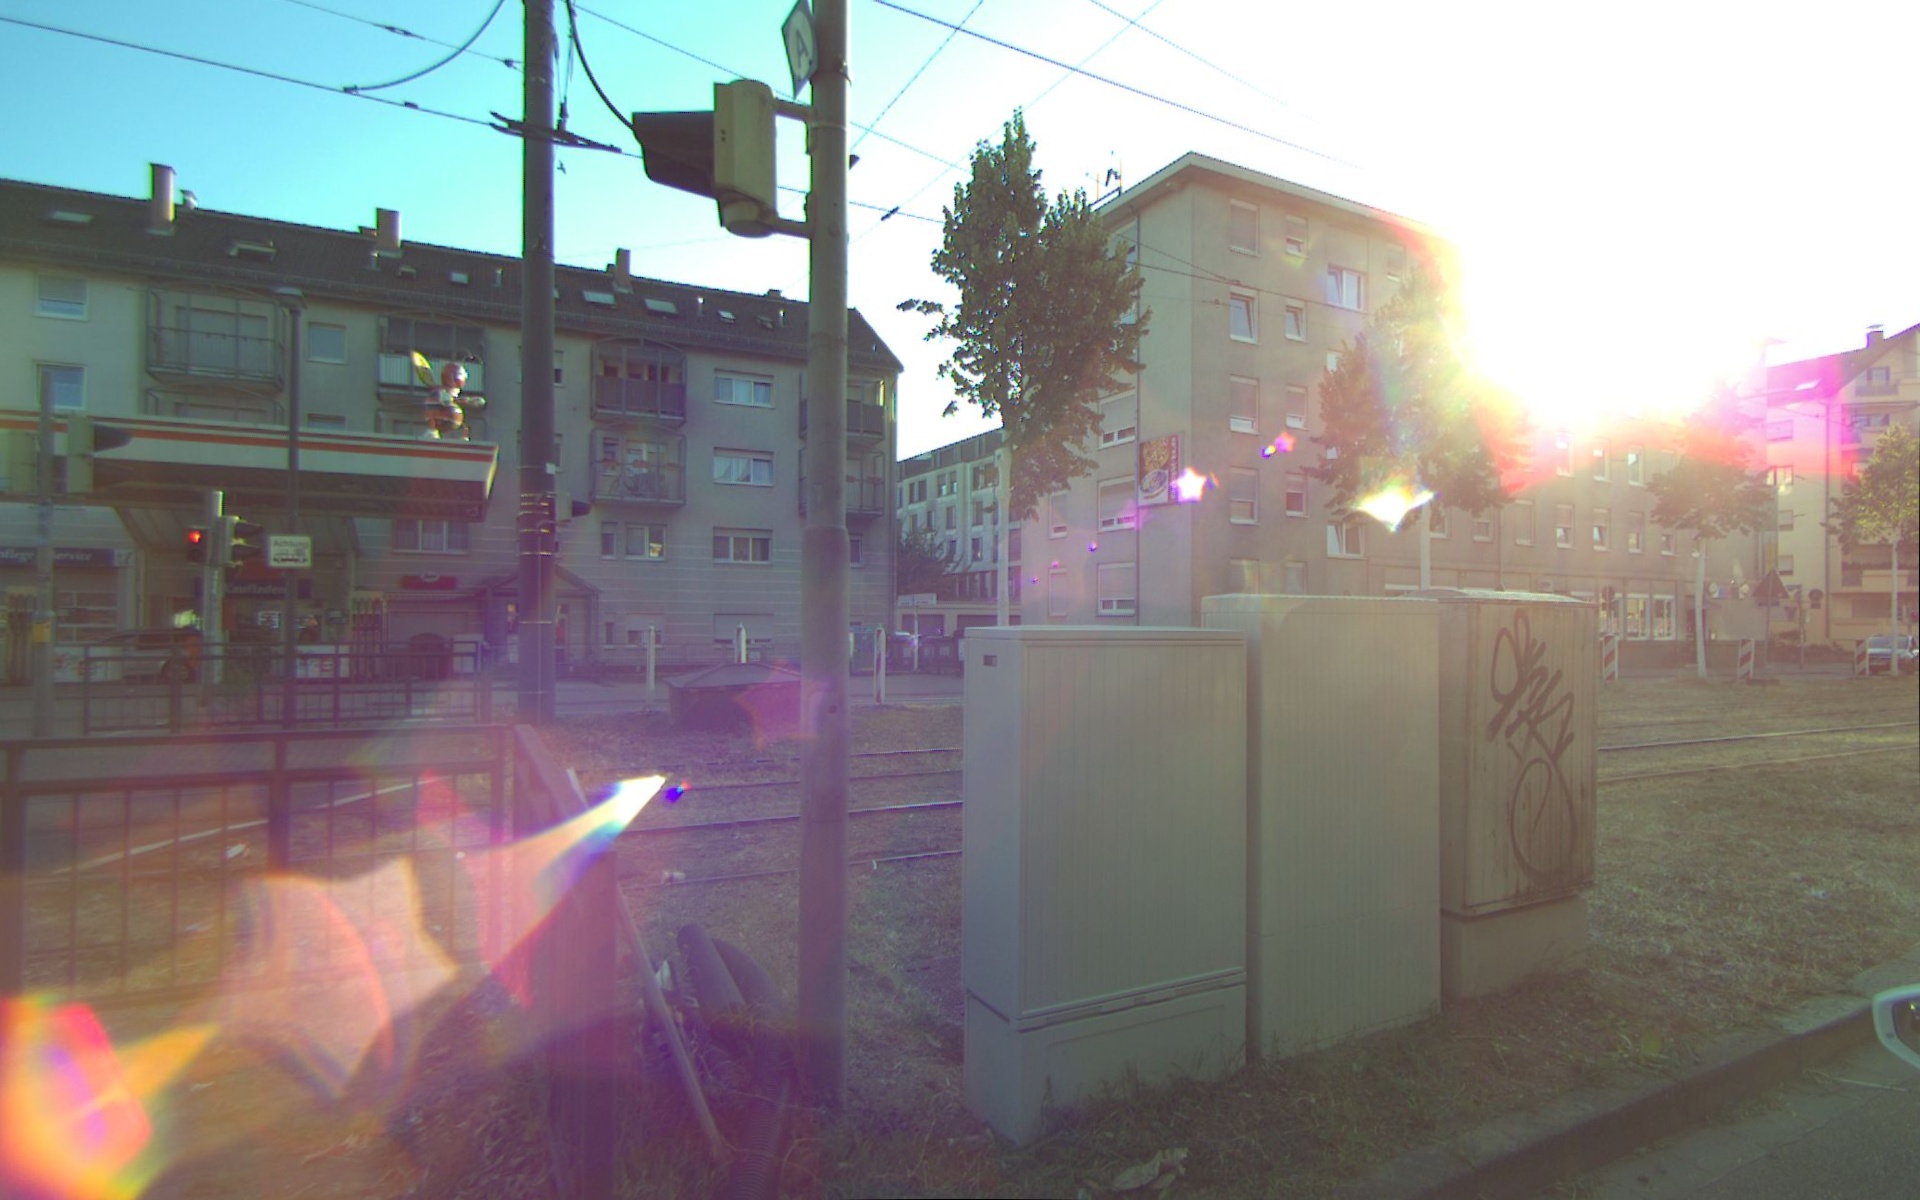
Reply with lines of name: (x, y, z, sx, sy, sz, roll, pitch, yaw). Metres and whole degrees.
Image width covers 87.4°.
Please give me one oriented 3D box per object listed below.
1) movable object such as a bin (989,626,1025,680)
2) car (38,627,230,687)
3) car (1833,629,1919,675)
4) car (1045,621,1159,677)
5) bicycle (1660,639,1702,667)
movable object such as a bin: (1.256, 1.412, 27.037, 0.740, 1.419, 0.660, 1, -2, -30)
car: (-22.752, 1.547, 27.880, 3.781, 1.543, 1.805, 1, -2, -28)
car: (37.041, 2.044, 39.919, 4.870, 1.580, 1.806, -2, -3, -27)
car: (4.117, 1.432, 29.640, 1.790, 1.532, 3.813, 1, -3, -19)
bicycle: (29.961, 2.190, 41.737, 1.756, 1.129, 0.744, 1, -2, -28)
